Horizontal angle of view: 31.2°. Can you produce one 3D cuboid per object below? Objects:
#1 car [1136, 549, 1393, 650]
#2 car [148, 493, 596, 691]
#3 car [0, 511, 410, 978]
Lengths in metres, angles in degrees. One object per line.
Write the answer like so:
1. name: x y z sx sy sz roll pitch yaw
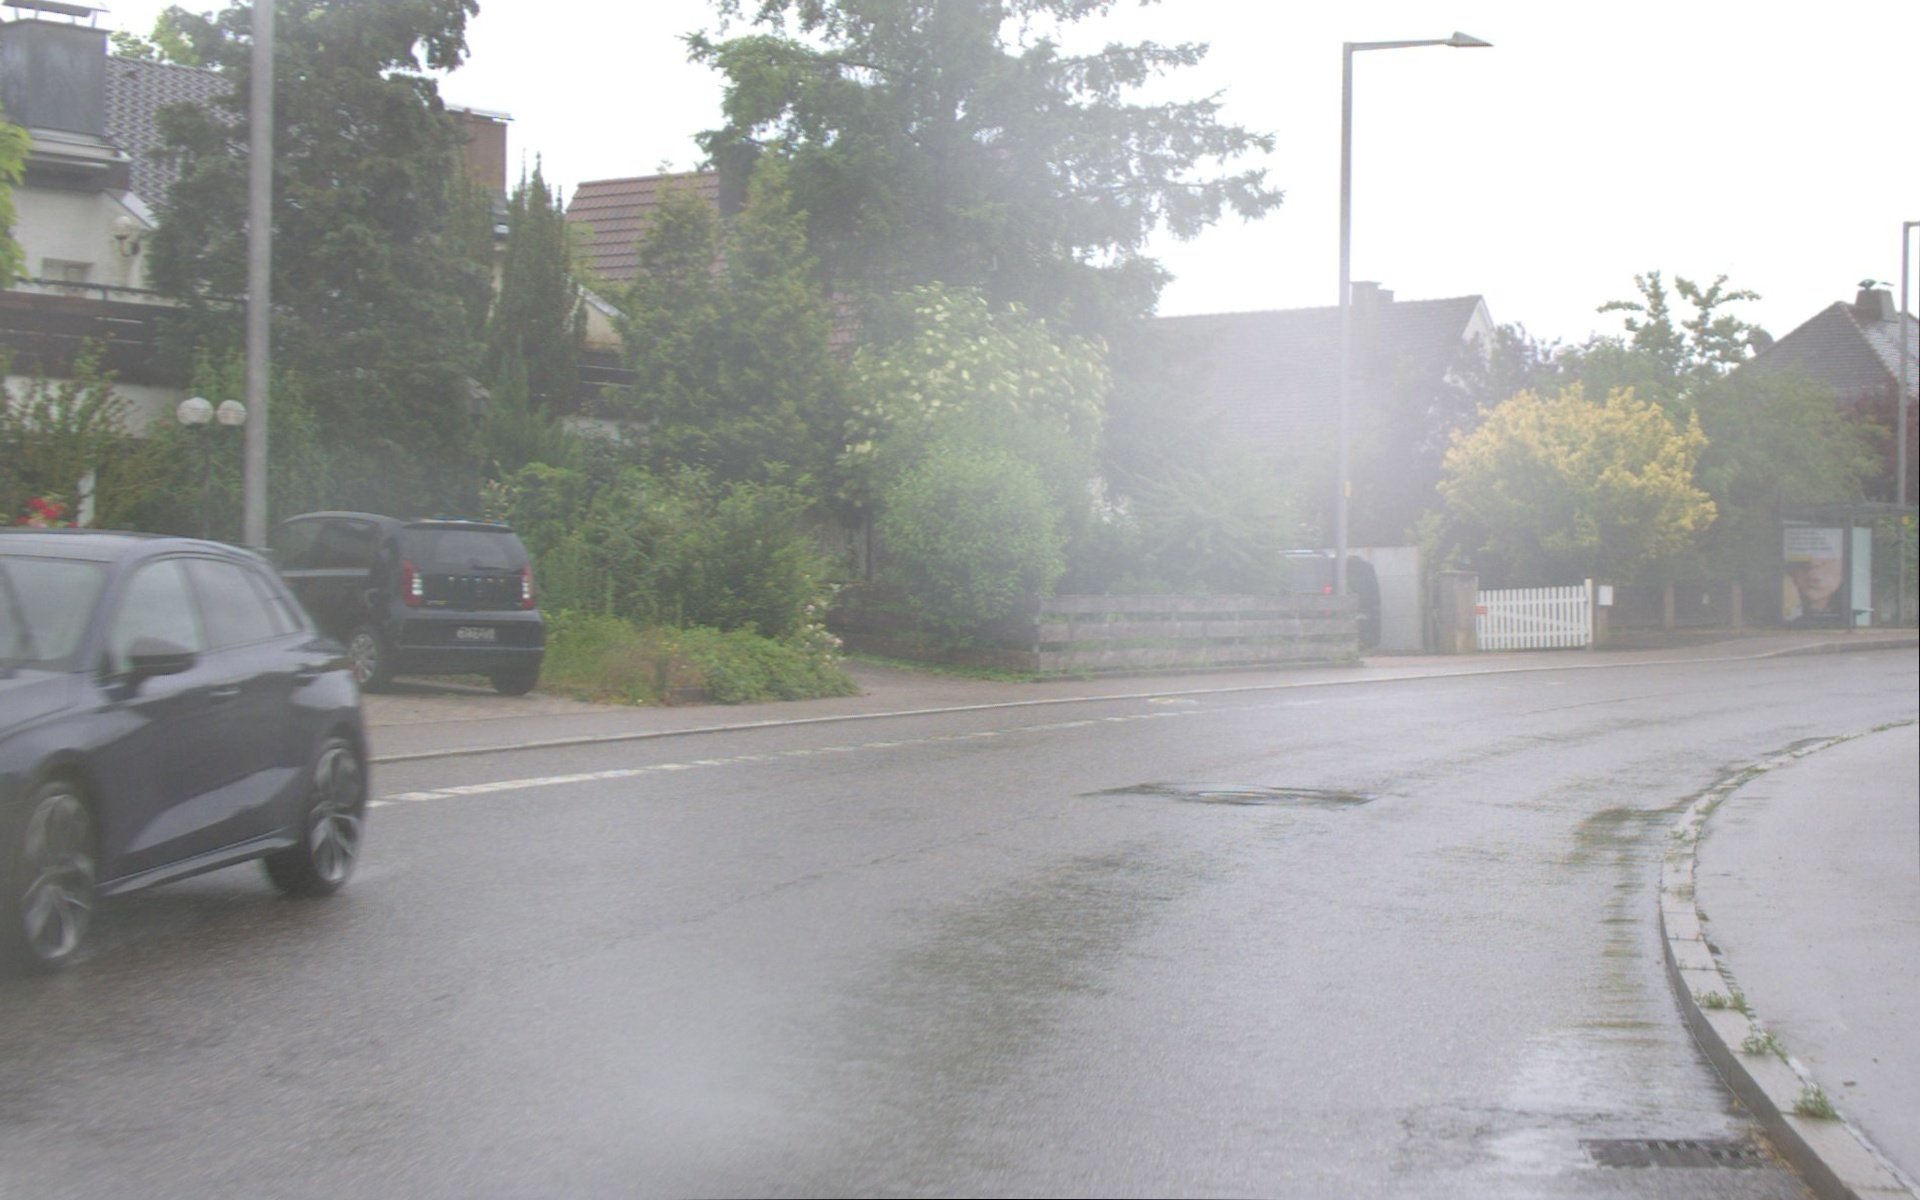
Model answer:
1. car: 5.296 -0.020 59.931 3.996 1.614 1.995 2 1 39
2. car: -5.018 -0.095 28.969 1.935 1.384 3.999 4 1 -39
3. car: -3.527 0.397 12.352 1.778 1.415 4.164 2 1 10
